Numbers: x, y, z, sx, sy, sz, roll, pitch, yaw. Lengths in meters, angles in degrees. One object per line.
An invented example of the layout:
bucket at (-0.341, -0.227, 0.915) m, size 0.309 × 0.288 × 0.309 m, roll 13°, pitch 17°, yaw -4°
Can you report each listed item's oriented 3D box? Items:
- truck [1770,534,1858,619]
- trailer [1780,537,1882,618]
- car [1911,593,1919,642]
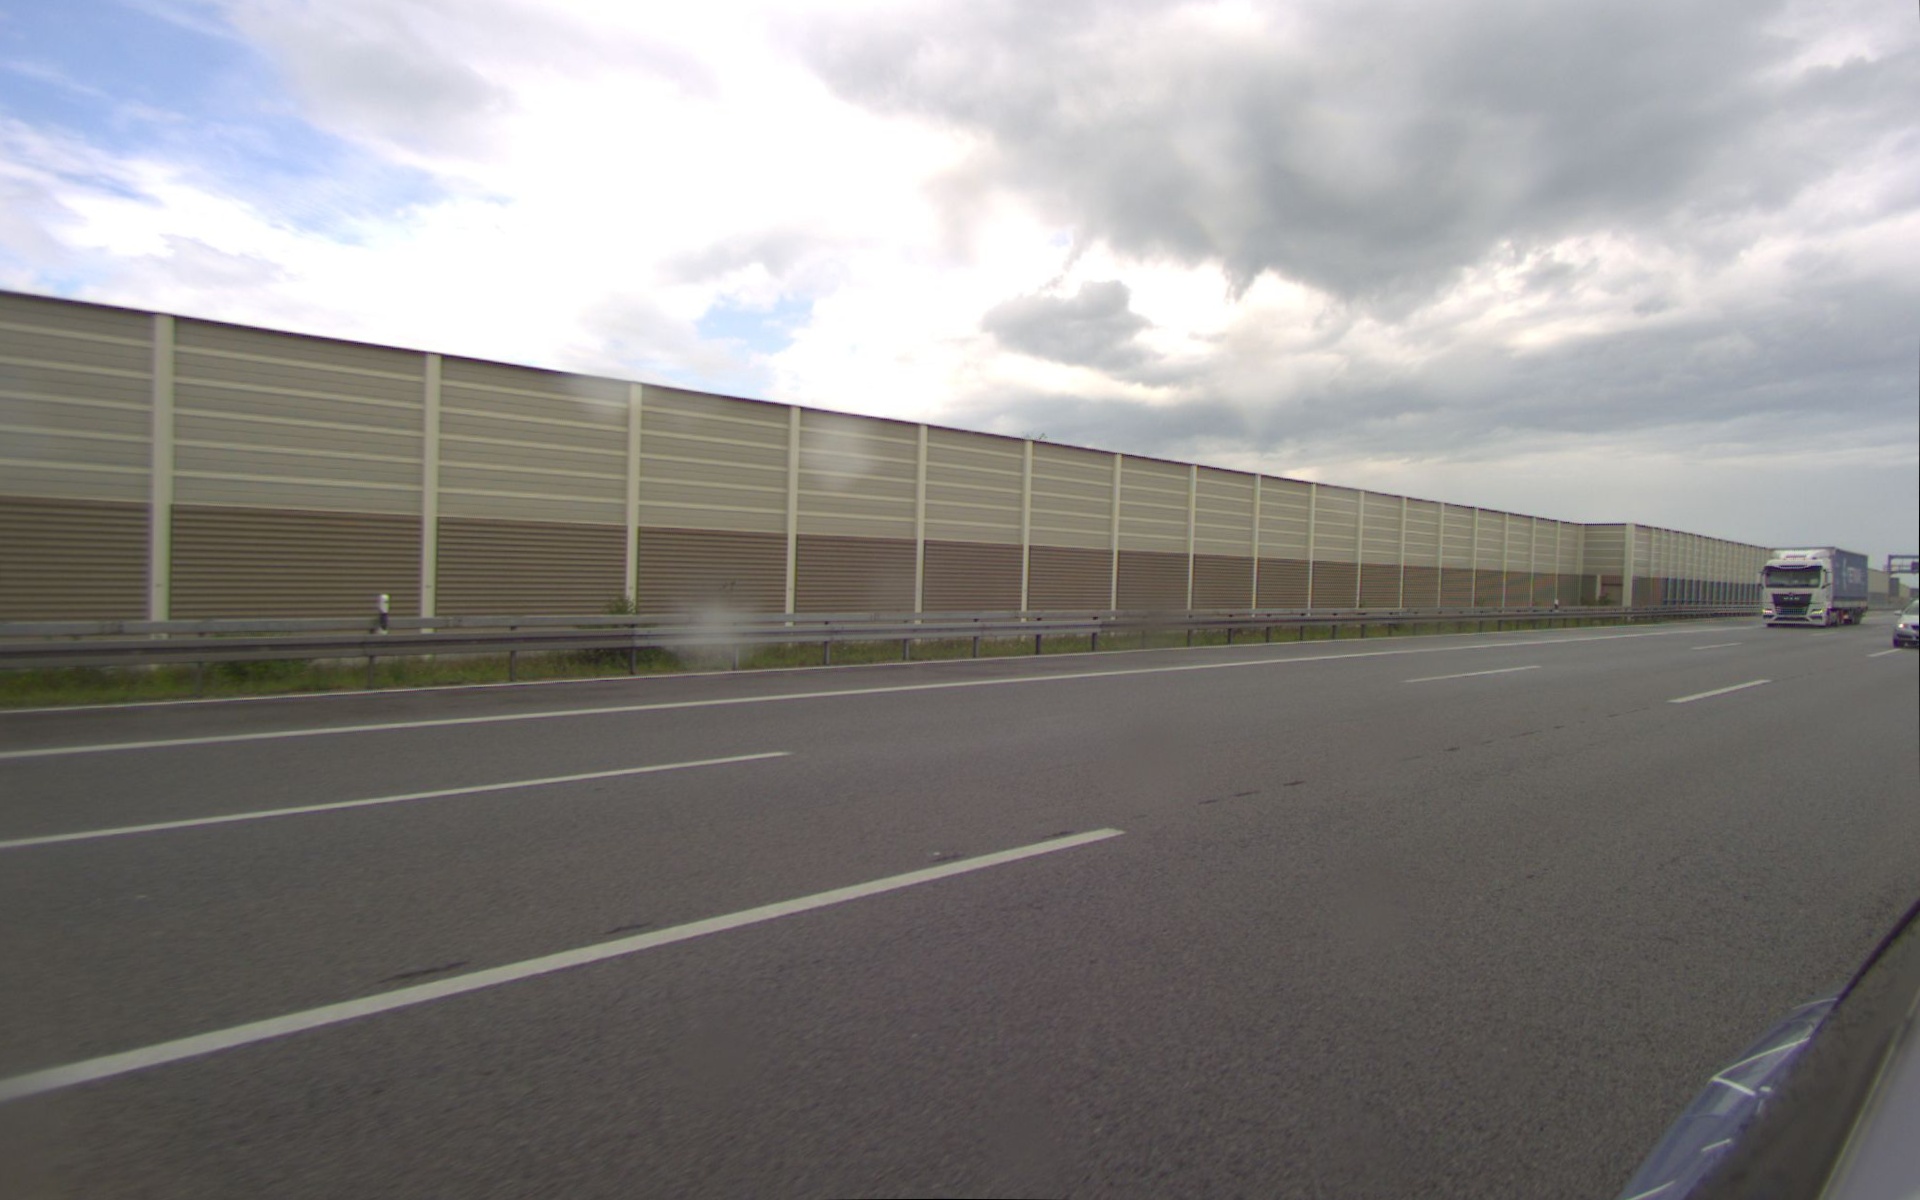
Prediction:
truck at (43.772, -1.156, 51.823) m, size 5.628 × 4.086 × 2.748 m, roll 1°, pitch 0°, yaw -43°
trailer at (48.878, -1.100, 56.573) m, size 14.207 × 4.083 × 2.764 m, roll 0°, pitch 0°, yaw -43°
car at (30.146, 0.542, 30.561) m, size 3.931 × 1.420 × 1.730 m, roll 0°, pitch 0°, yaw -42°
